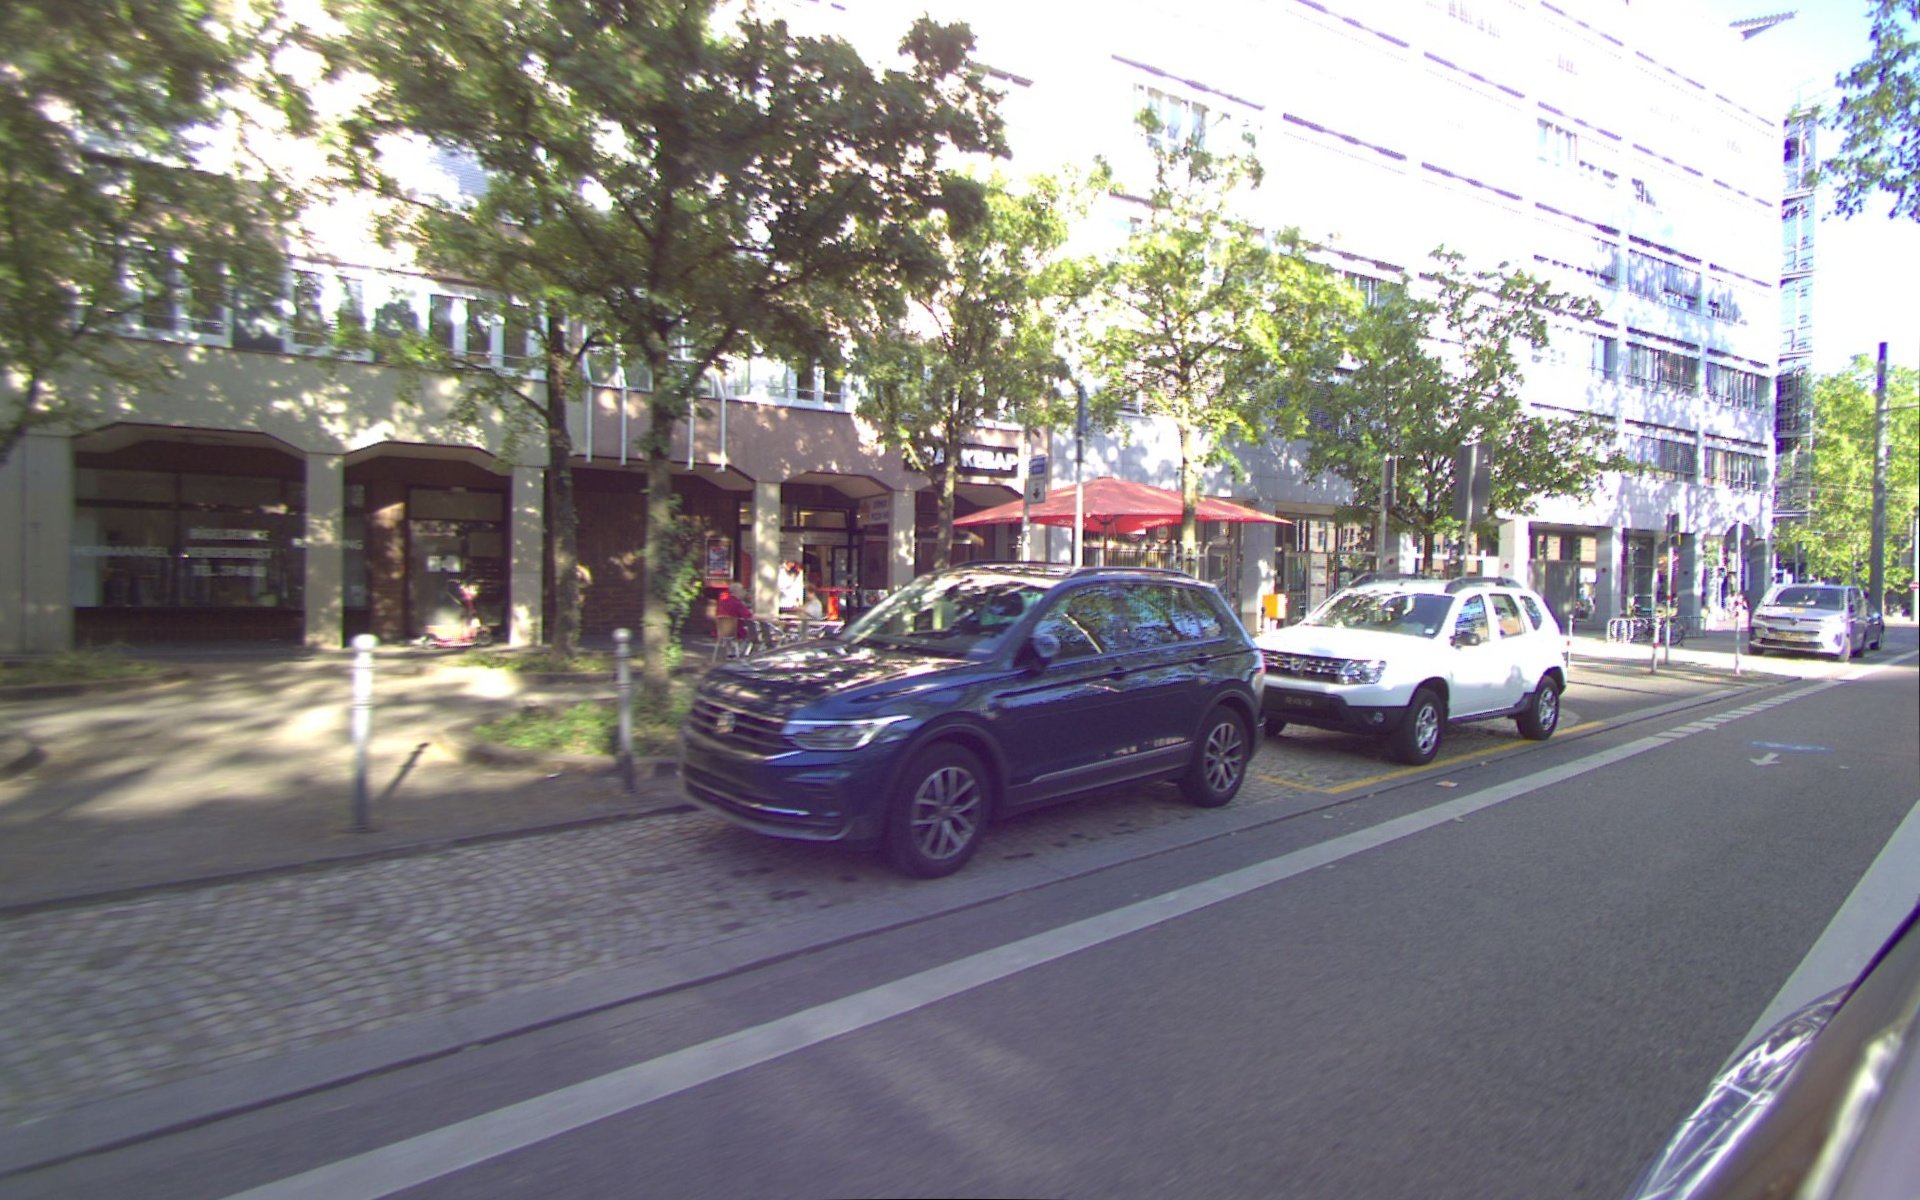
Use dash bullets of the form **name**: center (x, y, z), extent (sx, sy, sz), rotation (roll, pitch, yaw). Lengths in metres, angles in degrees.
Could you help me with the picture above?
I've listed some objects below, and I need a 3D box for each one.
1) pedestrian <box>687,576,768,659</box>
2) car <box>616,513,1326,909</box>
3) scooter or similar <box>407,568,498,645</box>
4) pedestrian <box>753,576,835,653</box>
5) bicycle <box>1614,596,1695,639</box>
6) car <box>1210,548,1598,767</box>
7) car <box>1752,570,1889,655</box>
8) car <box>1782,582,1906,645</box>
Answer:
- **pedestrian**: center (-3.702, 0.263, 16.098), extent (0.950, 1.266, 0.931), rotation (0, 1, -37)
- **car**: center (0.323, 0.443, 6.579), extent (4.493, 1.745, 1.802), rotation (0, 3, -40)
- **scooter or similar**: center (-8.763, 0.105, 17.487), extent (1.336, 1.271, 0.668), rotation (0, 1, -34)
- **pedestrian**: center (-2.785, 0.225, 16.980), extent (1.101, 1.228, 0.889), rotation (0, 1, -31)
- **bicycle**: center (19.680, 0.480, 28.712), extent (0.655, 1.120, 1.776), rotation (0, 1, -41)
- **car**: center (4.646, 0.431, 10.293), extent (4.380, 1.745, 1.802), rotation (0, 3, -40)
- **car**: center (22.163, 0.274, 26.000), extent (4.776, 1.928, 1.921), rotation (0, 3, -41)
- **car**: center (26.121, 0.355, 29.873), extent (3.942, 1.661, 1.924), rotation (0, 3, -37)
